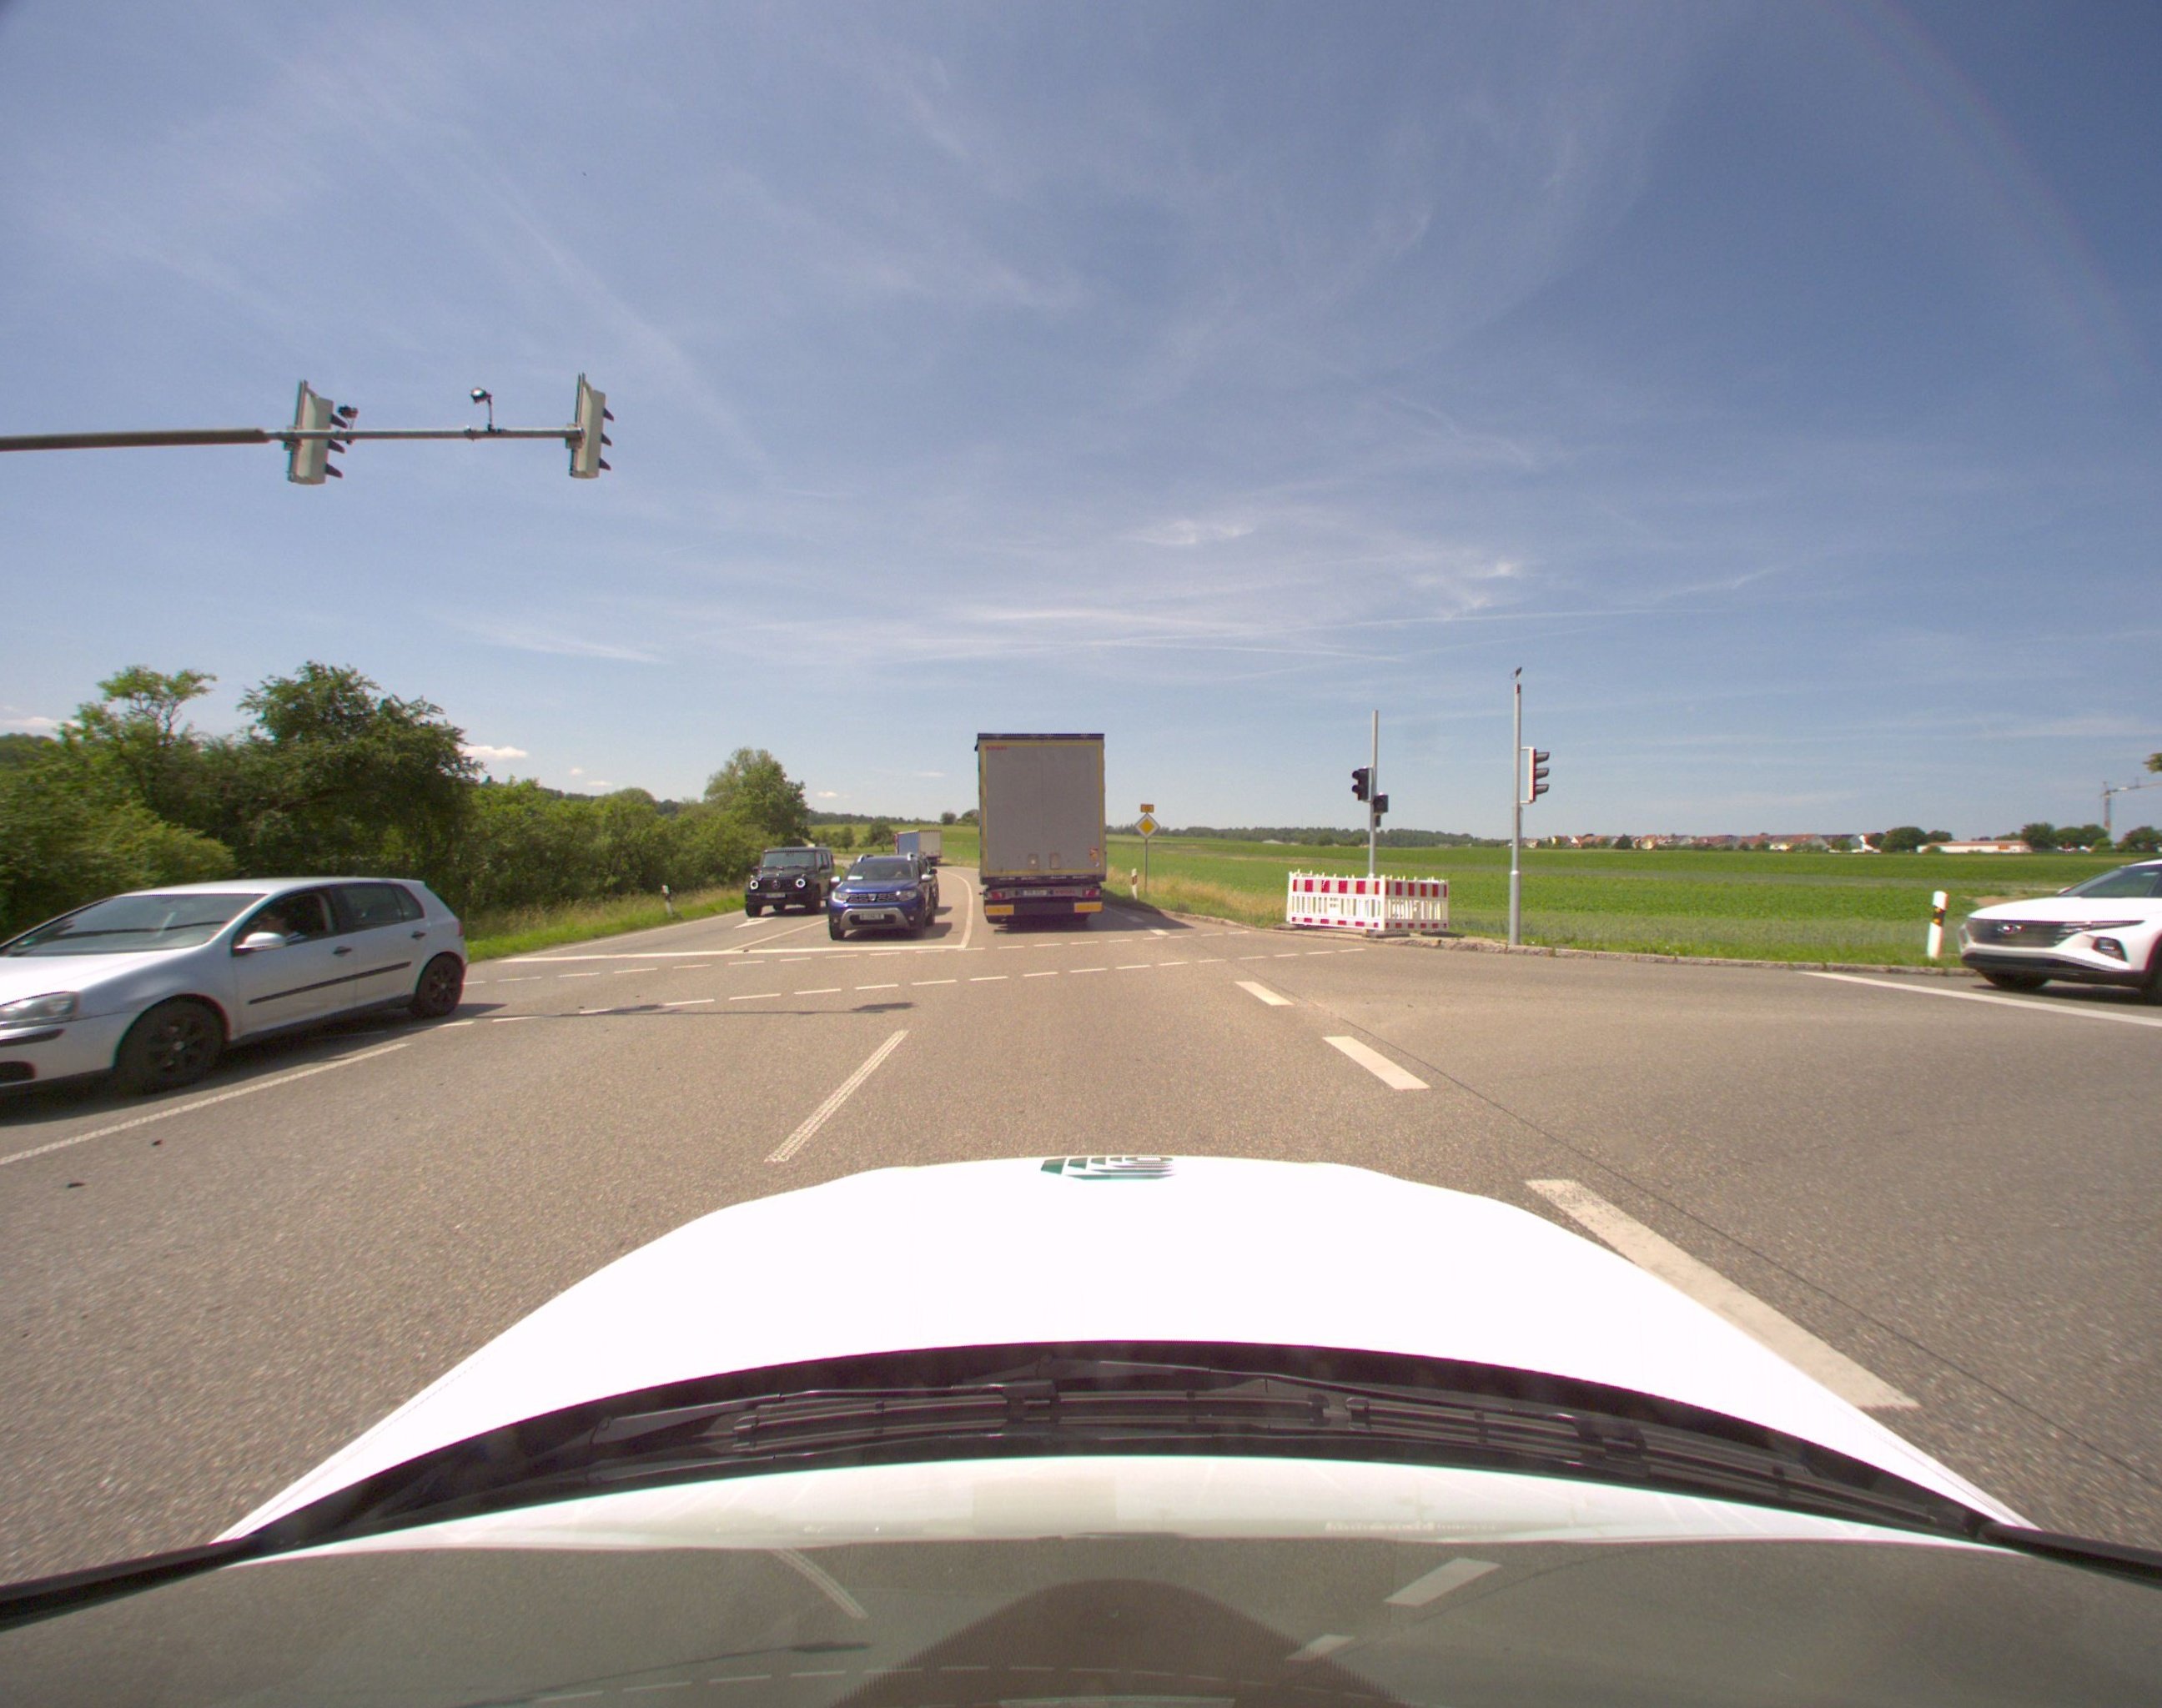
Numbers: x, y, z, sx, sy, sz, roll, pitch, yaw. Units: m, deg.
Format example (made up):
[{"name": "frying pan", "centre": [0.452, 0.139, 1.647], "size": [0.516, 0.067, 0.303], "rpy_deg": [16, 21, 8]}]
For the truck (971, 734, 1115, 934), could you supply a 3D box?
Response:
[{"name": "truck", "centre": [-1.092, -0.391, 20.988], "size": [2.803, 3.946, 9.576], "rpy_deg": [-1, 0, -4]}]

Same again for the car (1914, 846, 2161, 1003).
[{"name": "car", "centre": [12.901, 0.778, 9.313], "size": [4.607, 1.607, 2.000], "rpy_deg": [1, -2, 2]}]

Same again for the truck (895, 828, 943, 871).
[{"name": "truck", "centre": [-19.419, -0.545, 96.525], "size": [2.972, 4.584, 16.202], "rpy_deg": [0, 0, -21]}]

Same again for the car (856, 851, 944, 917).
[{"name": "car", "centre": [-4.990, 0.794, 22.906], "size": [1.767, 1.658, 3.994], "rpy_deg": [-1, -1, -4]}]

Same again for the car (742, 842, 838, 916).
[{"name": "car", "centre": [-8.776, 0.701, 24.995], "size": [1.995, 2.006, 5.144], "rpy_deg": [-1, -1, -11]}]

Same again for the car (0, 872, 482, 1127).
[{"name": "car", "centre": [-7.326, 0.946, 6.860], "size": [1.768, 1.495, 3.994], "rpy_deg": [-2, -1, -4]}]

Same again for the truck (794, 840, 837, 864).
[{"name": "truck", "centre": [-49.652, -0.335, 151.888], "size": [3.666, 4.130, 12.949], "rpy_deg": [1, -2, -37]}]

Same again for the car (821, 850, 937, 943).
[{"name": "car", "centre": [-4.033, 0.788, 16.850], "size": [1.769, 1.658, 3.991], "rpy_deg": [-1, -1, -6]}]

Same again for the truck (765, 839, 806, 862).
[{"name": "truck", "centre": [-59.764, -0.564, 164.491], "size": [3.558, 4.241, 13.250], "rpy_deg": [1, -2, -39]}]
